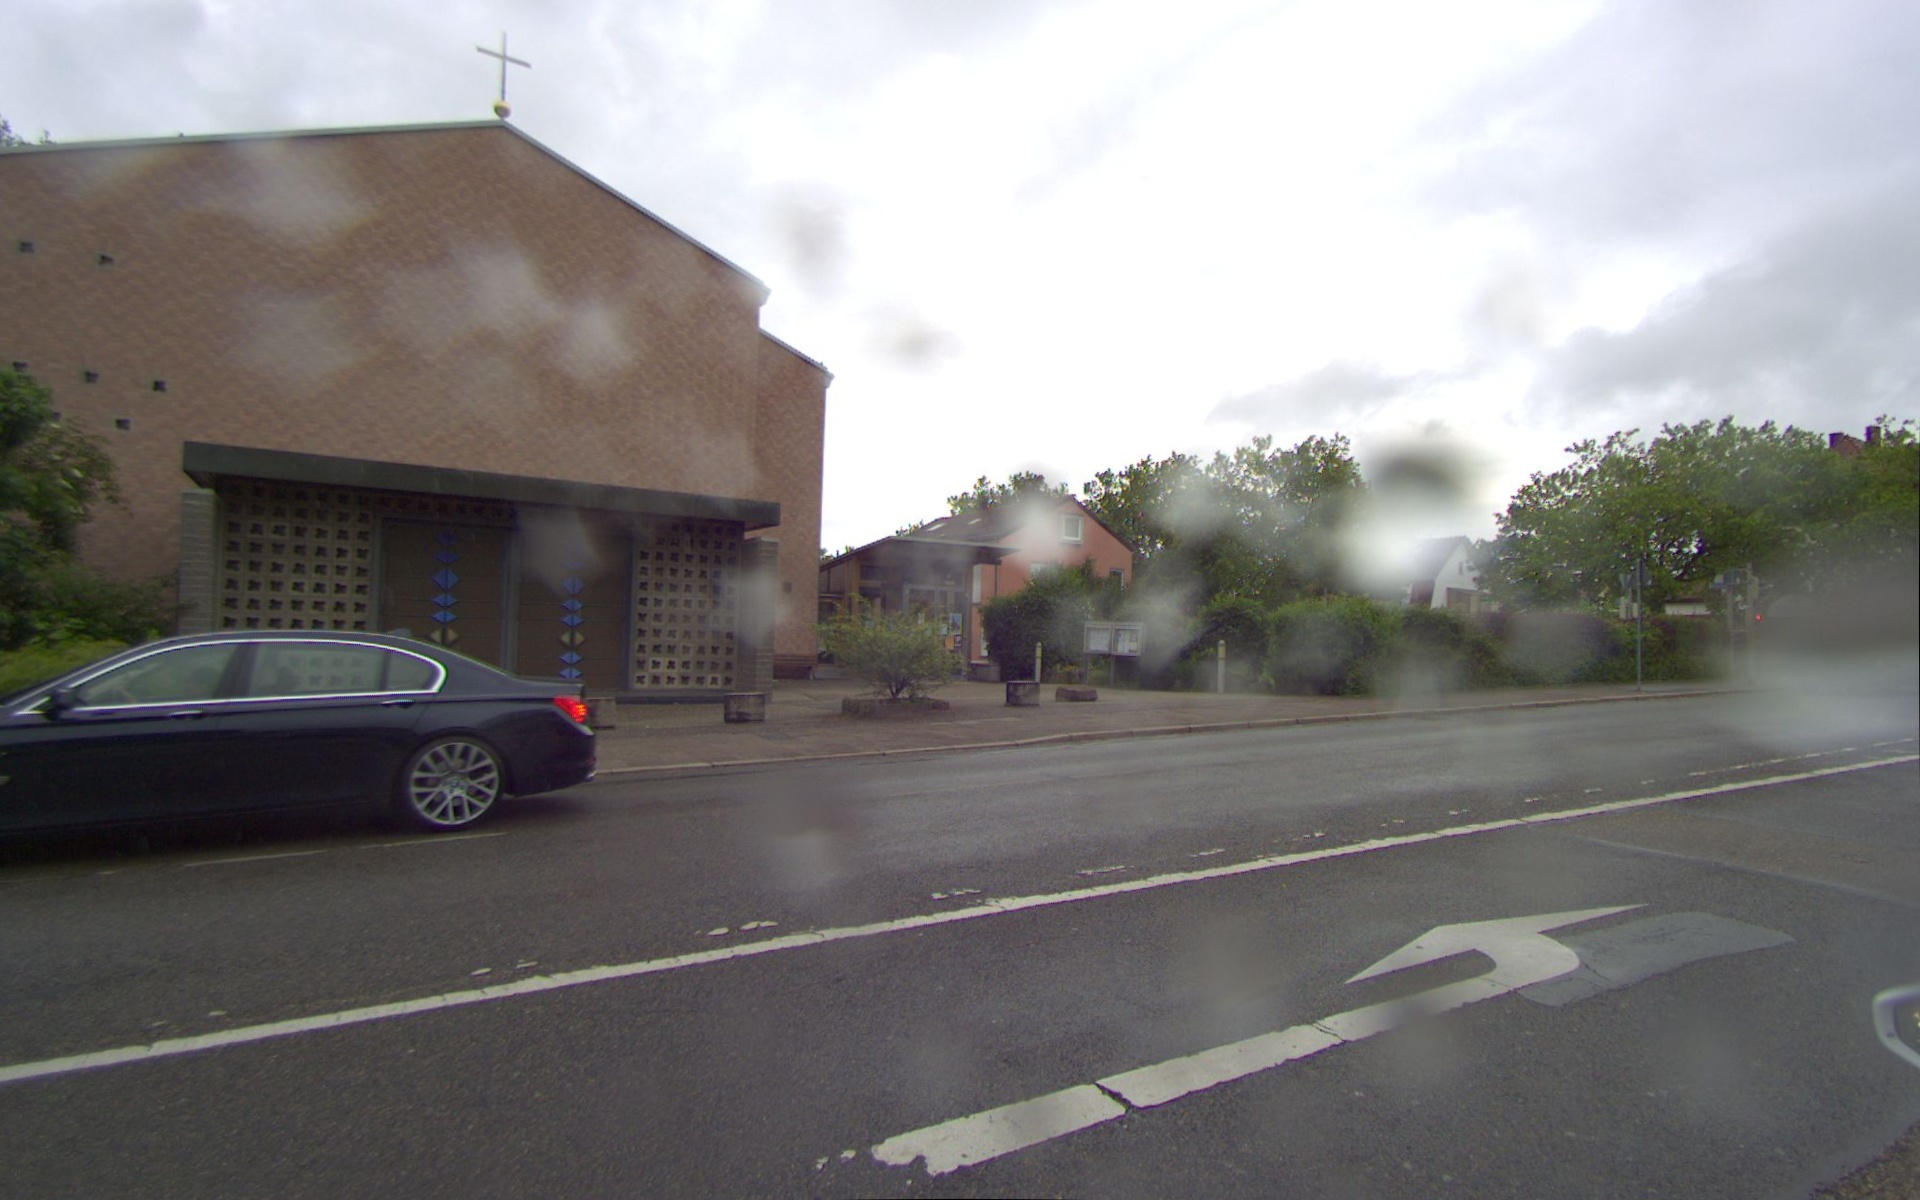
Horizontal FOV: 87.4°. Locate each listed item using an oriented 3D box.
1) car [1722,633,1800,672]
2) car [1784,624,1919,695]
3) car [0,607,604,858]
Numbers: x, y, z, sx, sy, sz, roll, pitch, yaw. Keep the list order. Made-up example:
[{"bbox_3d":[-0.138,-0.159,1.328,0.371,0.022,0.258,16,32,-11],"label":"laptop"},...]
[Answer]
[{"bbox_3d":[39.089,2.521,49.017,3.955,1.573,1.798,-3,2,-32],"label":"car"},{"bbox_3d":[22.428,1.429,24.906,4.271,1.611,1.897,1,-2,-33],"label":"car"},{"bbox_3d":[-5.316,0.882,7.262,4.894,1.472,1.901,2,-6,-32],"label":"car"}]
